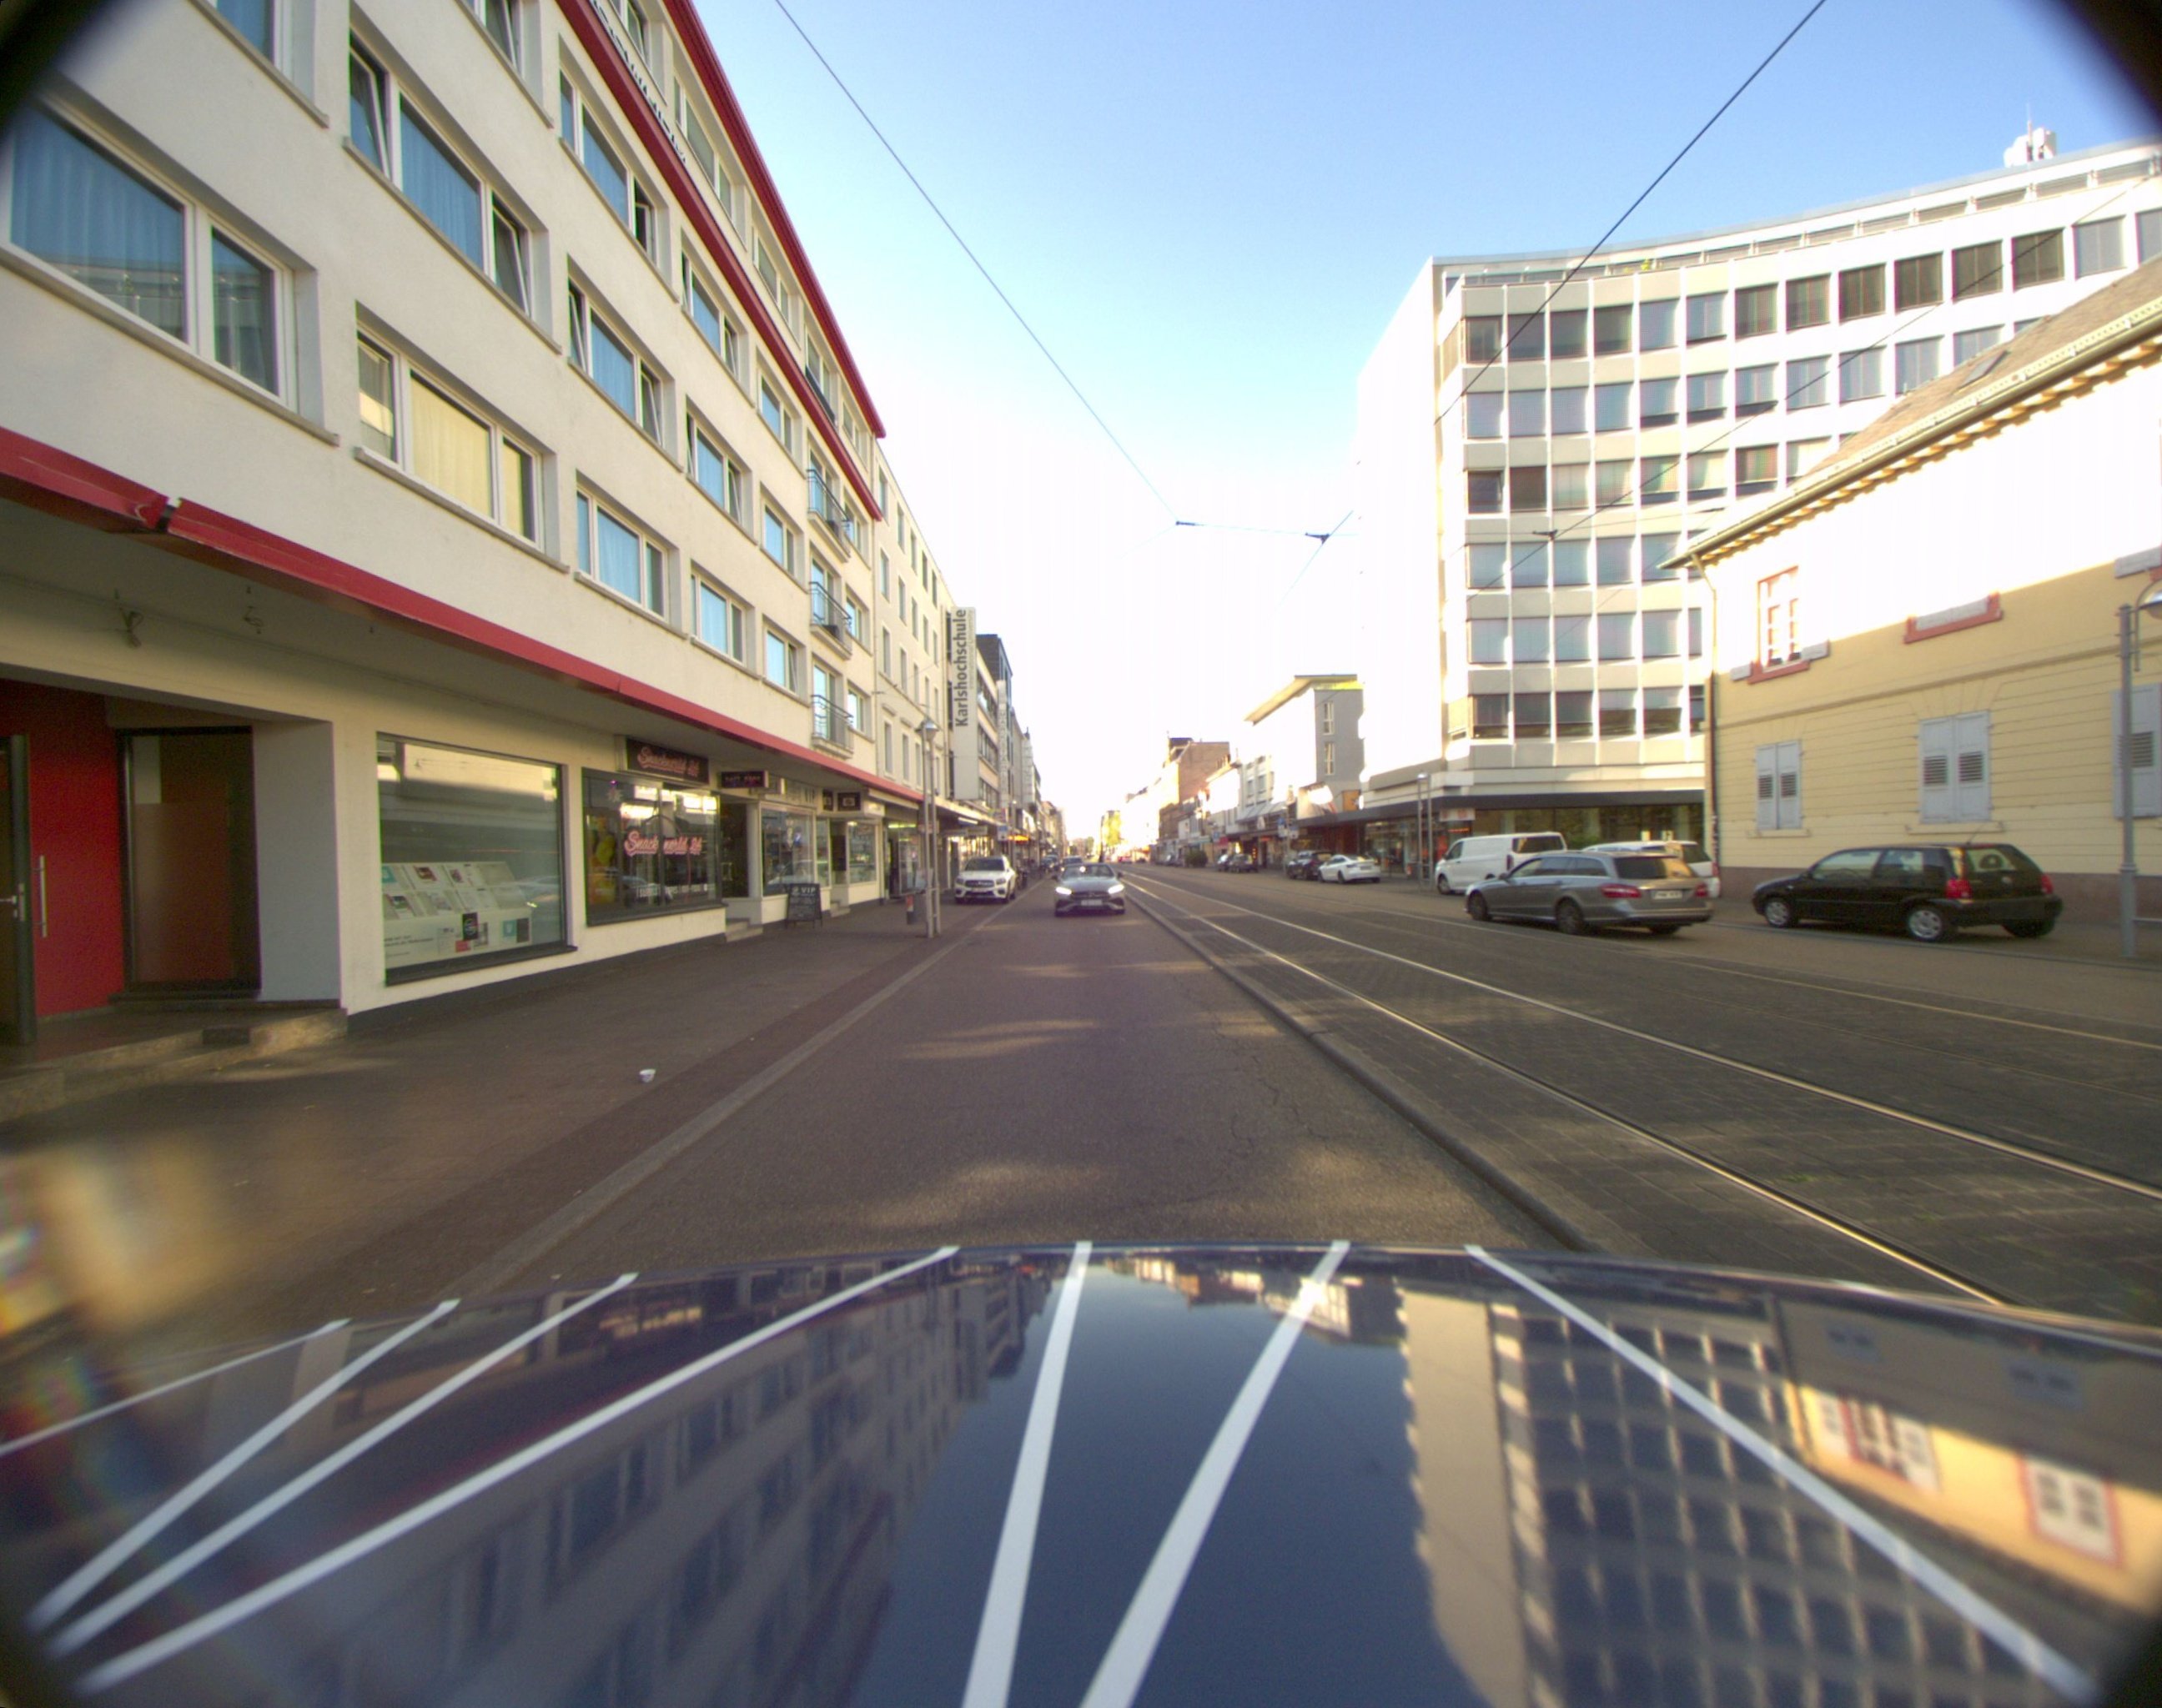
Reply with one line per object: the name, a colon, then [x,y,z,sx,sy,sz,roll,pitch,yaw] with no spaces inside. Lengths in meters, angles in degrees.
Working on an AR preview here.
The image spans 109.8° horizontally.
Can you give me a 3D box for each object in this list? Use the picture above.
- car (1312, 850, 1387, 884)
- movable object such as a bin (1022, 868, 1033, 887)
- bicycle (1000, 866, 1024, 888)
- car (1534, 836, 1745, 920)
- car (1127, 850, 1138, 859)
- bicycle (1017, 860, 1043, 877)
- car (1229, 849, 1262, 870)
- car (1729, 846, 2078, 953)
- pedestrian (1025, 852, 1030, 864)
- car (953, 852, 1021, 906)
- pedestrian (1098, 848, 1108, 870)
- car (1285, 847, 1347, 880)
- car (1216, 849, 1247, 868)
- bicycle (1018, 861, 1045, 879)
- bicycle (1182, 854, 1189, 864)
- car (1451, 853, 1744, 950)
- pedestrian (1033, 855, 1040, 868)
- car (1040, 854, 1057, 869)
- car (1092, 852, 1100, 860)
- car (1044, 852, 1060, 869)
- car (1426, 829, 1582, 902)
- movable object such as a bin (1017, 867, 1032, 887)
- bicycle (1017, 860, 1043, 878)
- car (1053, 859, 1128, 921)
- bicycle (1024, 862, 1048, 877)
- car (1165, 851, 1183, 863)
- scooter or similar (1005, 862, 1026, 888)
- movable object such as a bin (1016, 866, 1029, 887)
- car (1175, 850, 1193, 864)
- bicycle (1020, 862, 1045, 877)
car: [13.192,0.592,37.587,1.893,1.413,4.655,-3,1,-1]
movable object such as a bin: [-2.787,1.207,39.452,0.489,0.952,0.458,0,1,3]
bicycle: [-3.391,1.124,37.289,1.134,1.073,0.320,0,1,-2]
car: [13.299,0.488,18.546,1.812,1.676,4.648,-3,1,2]
car: [9.818,0.063,145.698,1.802,1.625,3.675,-1,1,0]
bicycle: [-3.569,1.014,53.649,1.792,1.210,0.587,-1,1,-1]
car: [13.019,0.430,60.418,1.605,1.514,3.588,-4,1,-3]
car: [13.050,0.613,12.440,1.618,1.392,3.719,-3,1,-1]
pedestrian: [-6.420,0.482,91.341,0.577,1.431,0.731,0,1,0]
car: [-3.291,0.815,27.578,1.854,1.714,5.191,0,1,-1]
pedestrian: [1.782,0.398,61.264,0.806,1.827,0.746,0,1,-2]
car: [13.146,0.476,42.790,1.983,1.669,4.654,-3,1,0]
car: [13.146,0.375,66.704,1.741,1.514,4.851,-4,1,0]
bicycle: [-3.329,1.073,51.404,1.792,1.153,0.669,-1,1,-1]
bicycle: [12.115,0.620,88.243,0.520,1.084,1.716,-3,1,0]
car: [9.263,0.738,14.308,1.886,1.487,4.928,0,0,-4]
pedestrian: [-5.161,0.854,88.061,0.697,1.499,0.814,-1,1,0]
car: [-3.505,0.763,82.224,1.726,1.476,4.415,0,1,0]
car: [4.177,0.536,211.484,1.998,2.002,4.000,-3,1,1]
car: [-3.397,0.708,88.805,1.821,1.849,4.548,0,1,-4]
car: [13.174,0.309,24.127,1.999,1.964,5.095,-3,1,-1]
movable object such as a bin: [-2.884,1.180,38.947,0.688,1.008,0.508,-1,1,2]
bicycle: [-3.519,1.053,52.586,1.792,1.210,0.669,-1,1,-1]
car: [0.217,0.925,21.629,1.858,1.463,4.785,-1,1,-1]
bicycle: [-3.371,1.149,56.842,1.778,1.124,0.478,-1,1,-6]
car: [12.843,0.364,104.791,1.822,1.505,4.762,-2,1,0]
scooter or similar: [-3.255,1.038,37.636,0.995,1.224,0.320,0,1,-2]
movable object such as a bin: [-2.947,1.145,38.297,0.523,1.008,0.671,-1,1,2]
car: [12.900,0.330,95.431,1.701,1.594,2.891,-3,1,0]
bicycle: [-3.501,1.108,54.957,1.778,1.026,0.596,-1,1,-1]
